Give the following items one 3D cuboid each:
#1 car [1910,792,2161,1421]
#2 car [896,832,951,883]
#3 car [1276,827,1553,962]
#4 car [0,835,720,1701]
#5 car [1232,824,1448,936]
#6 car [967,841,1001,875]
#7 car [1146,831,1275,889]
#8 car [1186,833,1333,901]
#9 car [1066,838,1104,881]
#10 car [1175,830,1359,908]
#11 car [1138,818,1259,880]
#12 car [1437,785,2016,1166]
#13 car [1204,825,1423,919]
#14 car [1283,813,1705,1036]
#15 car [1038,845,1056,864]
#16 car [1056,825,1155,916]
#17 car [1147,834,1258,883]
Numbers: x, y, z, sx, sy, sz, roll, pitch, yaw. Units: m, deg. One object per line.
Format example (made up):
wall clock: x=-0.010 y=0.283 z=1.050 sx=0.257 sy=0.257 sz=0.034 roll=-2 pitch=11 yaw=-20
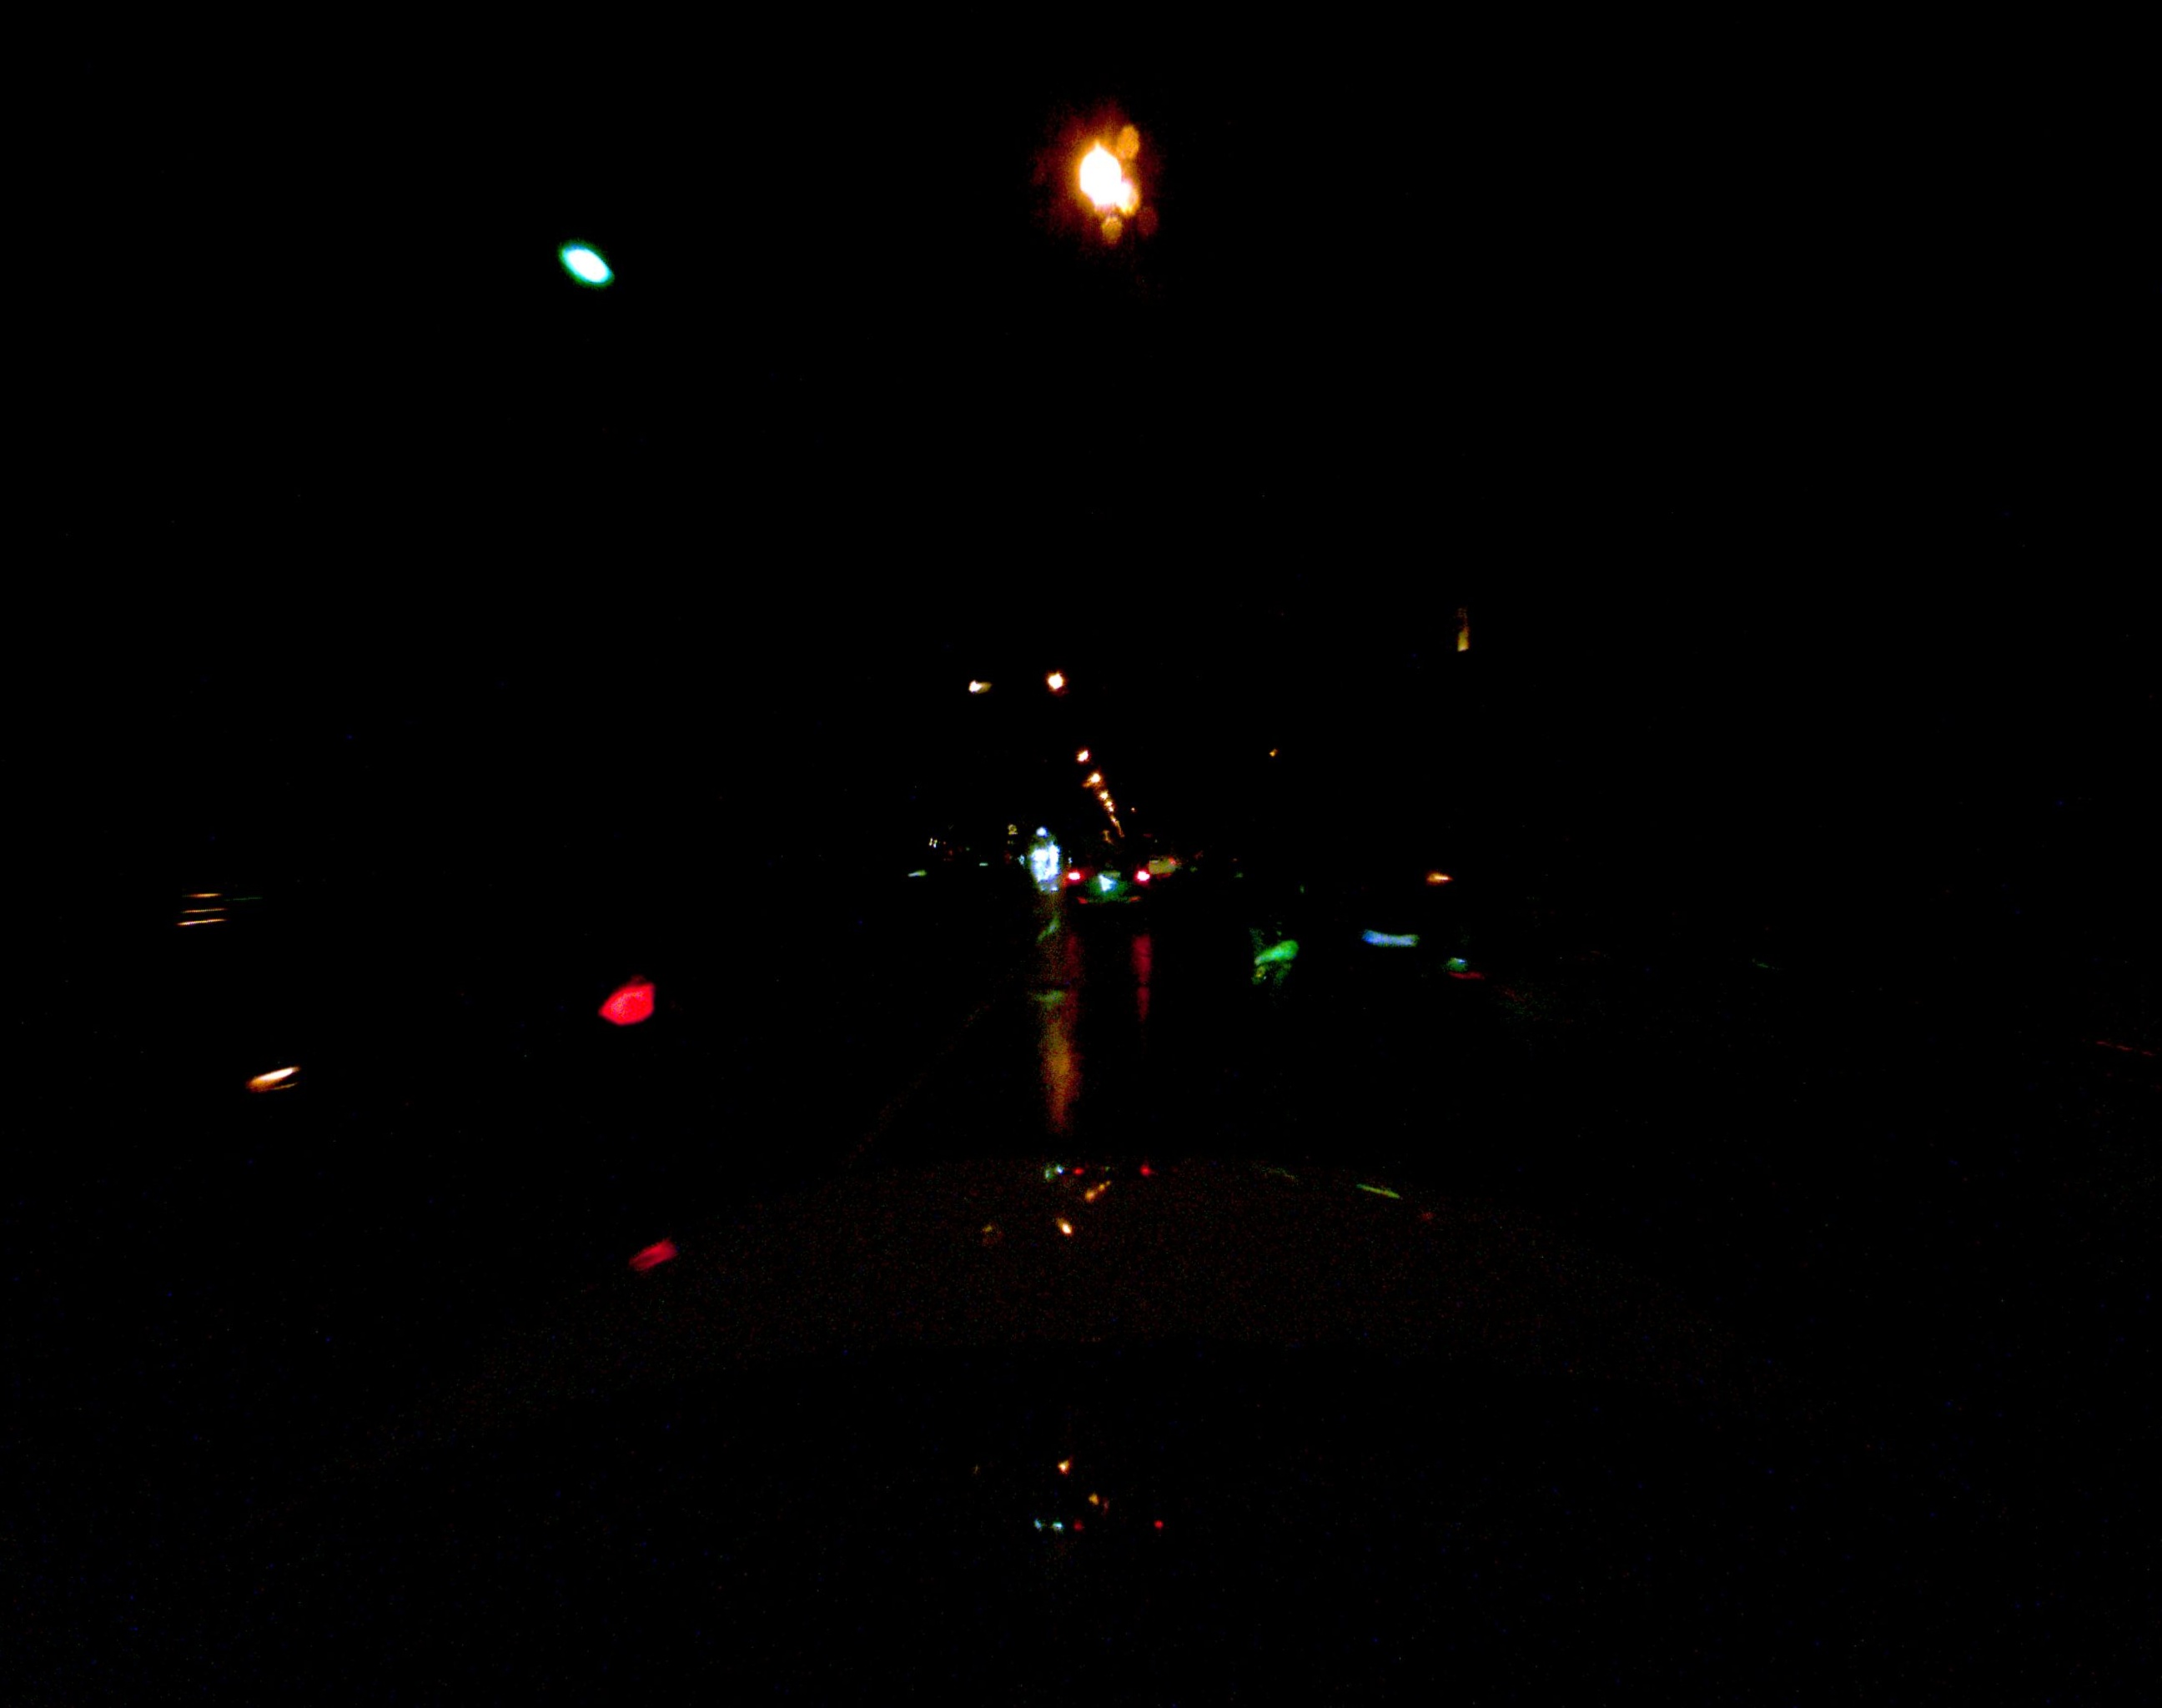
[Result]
car: x=4.543 y=0.498 z=2.704 sx=4.204 sy=1.457 sz=1.837 roll=-4 pitch=1 yaw=-35
car: x=-6.743 y=0.127 z=34.481 sx=1.994 sy=1.972 sz=4.280 roll=-1 pitch=1 yaw=-15
car: x=4.858 y=0.454 z=11.626 sx=4.204 sy=1.475 sz=1.644 roll=-4 pitch=1 yaw=-36
car: x=-2.839 y=0.763 z=1.731 sx=1.781 sy=1.554 sz=4.857 roll=-1 pitch=0 yaw=2
car: x=4.812 y=0.380 z=14.842 sx=4.207 sy=1.645 sz=1.643 roll=-4 pitch=1 yaw=-39
car: x=-5.940 y=0.216 z=49.406 sx=1.725 sy=1.972 sz=3.713 roll=-1 pitch=1 yaw=-12
car: x=4.395 y=0.171 z=27.416 sx=4.204 sy=1.645 sz=1.751 roll=-4 pitch=1 yaw=-36
car: x=5.216 y=0.330 z=23.608 sx=4.204 sy=1.645 sz=1.751 roll=-4 pitch=1 yaw=-36
car: x=0.155 y=0.219 z=39.782 sx=1.719 sy=1.972 sz=4.220 roll=-1 pitch=1 yaw=-1
car: x=4.690 y=0.328 z=20.608 sx=4.184 sy=1.645 sz=1.759 roll=-3 pitch=1 yaw=-18
car: x=5.129 y=-0.262 z=35.328 sx=5.032 sy=2.391 sz=2.116 roll=-4 pitch=1 yaw=-36
car: x=4.436 y=0.419 z=5.389 sx=4.204 sy=1.576 sz=1.862 roll=-4 pitch=1 yaw=-35
car: x=4.937 y=0.324 z=17.342 sx=4.184 sy=1.645 sz=1.759 roll=-3 pitch=1 yaw=-18
car: x=4.187 y=0.498 z=8.072 sx=4.200 sy=1.590 sz=1.714 roll=-4 pitch=1 yaw=-31
car: x=-3.499 y=0.015 z=85.239 sx=1.719 sy=1.972 sz=4.220 roll=-1 pitch=1 yaw=-1
car: x=0.664 y=0.349 z=20.398 sx=2.159 sy=1.972 sz=4.305 roll=-2 pitch=1 yaw=3
car: x=4.787 y=0.150 z=31.889 sx=4.204 sy=1.645 sz=1.751 roll=-4 pitch=1 yaw=-36
